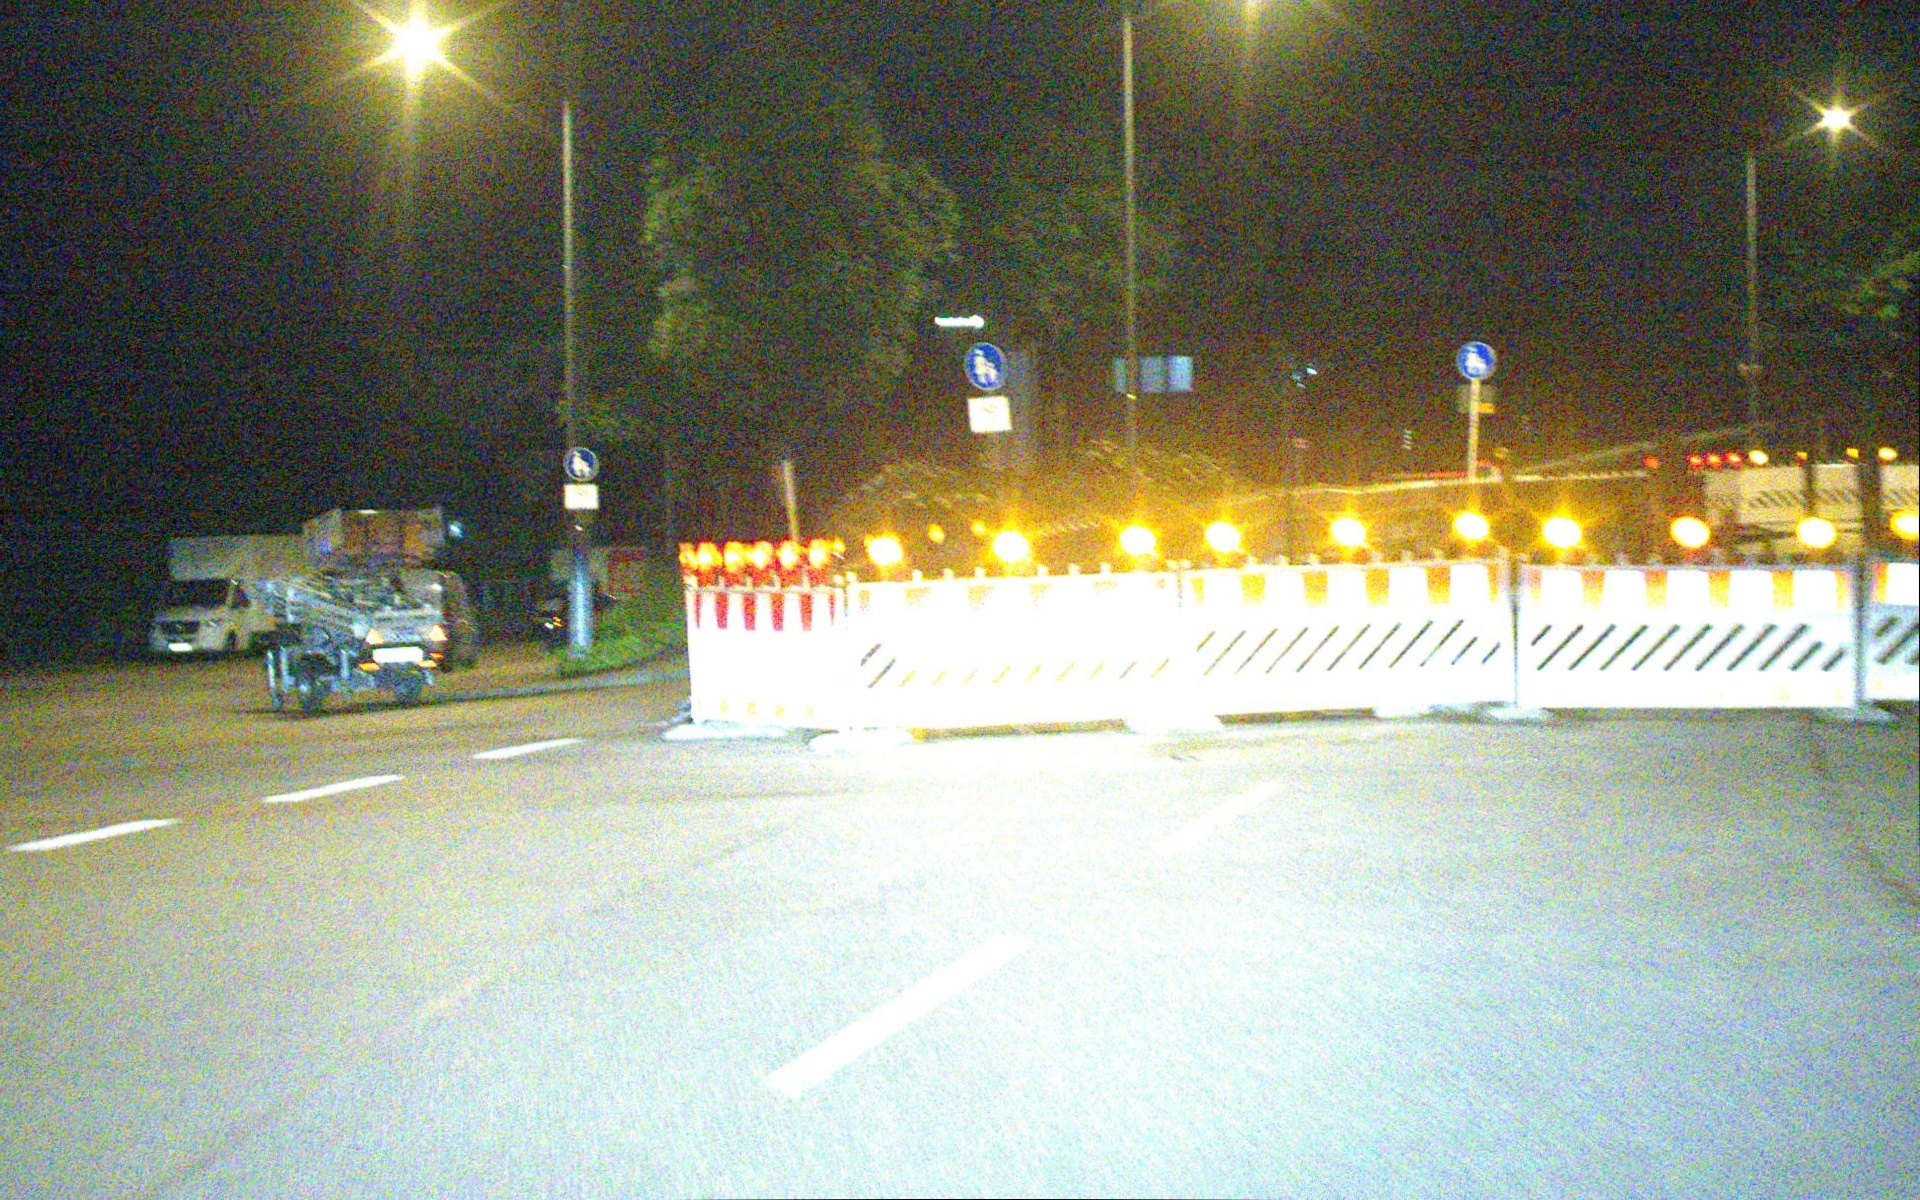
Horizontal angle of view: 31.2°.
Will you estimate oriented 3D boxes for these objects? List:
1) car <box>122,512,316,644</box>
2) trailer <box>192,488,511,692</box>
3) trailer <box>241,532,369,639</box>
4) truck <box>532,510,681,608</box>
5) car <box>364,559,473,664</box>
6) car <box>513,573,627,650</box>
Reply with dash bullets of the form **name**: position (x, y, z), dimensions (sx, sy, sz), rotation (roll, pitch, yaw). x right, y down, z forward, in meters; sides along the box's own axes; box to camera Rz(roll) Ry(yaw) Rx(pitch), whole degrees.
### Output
- **car**: position (-18.978, -0.612, 88.511), dimensions (2.519, 3.160, 7.136), rotation (-2, 1, 7)
- **trailer**: position (-7.067, -0.078, 39.465), dimensions (1.559, 2.153, 5.221), rotation (-3, 1, -34)
- **trailer**: position (-18.036, -0.439, 94.917), dimensions (1.994, 2.803, 4.701), rotation (-1, 1, 8)
- **truck**: position (-12.714, -1.548, 124.473), dimensions (1.995, 3.392, 8.972), rotation (1, 2, 17)
- **car**: position (-9.661, 0.193, 61.572), dimensions (1.720, 1.815, 4.001), rotation (0, 0, -6)
- **car**: position (-9.347, 0.274, 82.621), dimensions (1.721, 1.815, 3.998), rotation (0, 0, 9)
